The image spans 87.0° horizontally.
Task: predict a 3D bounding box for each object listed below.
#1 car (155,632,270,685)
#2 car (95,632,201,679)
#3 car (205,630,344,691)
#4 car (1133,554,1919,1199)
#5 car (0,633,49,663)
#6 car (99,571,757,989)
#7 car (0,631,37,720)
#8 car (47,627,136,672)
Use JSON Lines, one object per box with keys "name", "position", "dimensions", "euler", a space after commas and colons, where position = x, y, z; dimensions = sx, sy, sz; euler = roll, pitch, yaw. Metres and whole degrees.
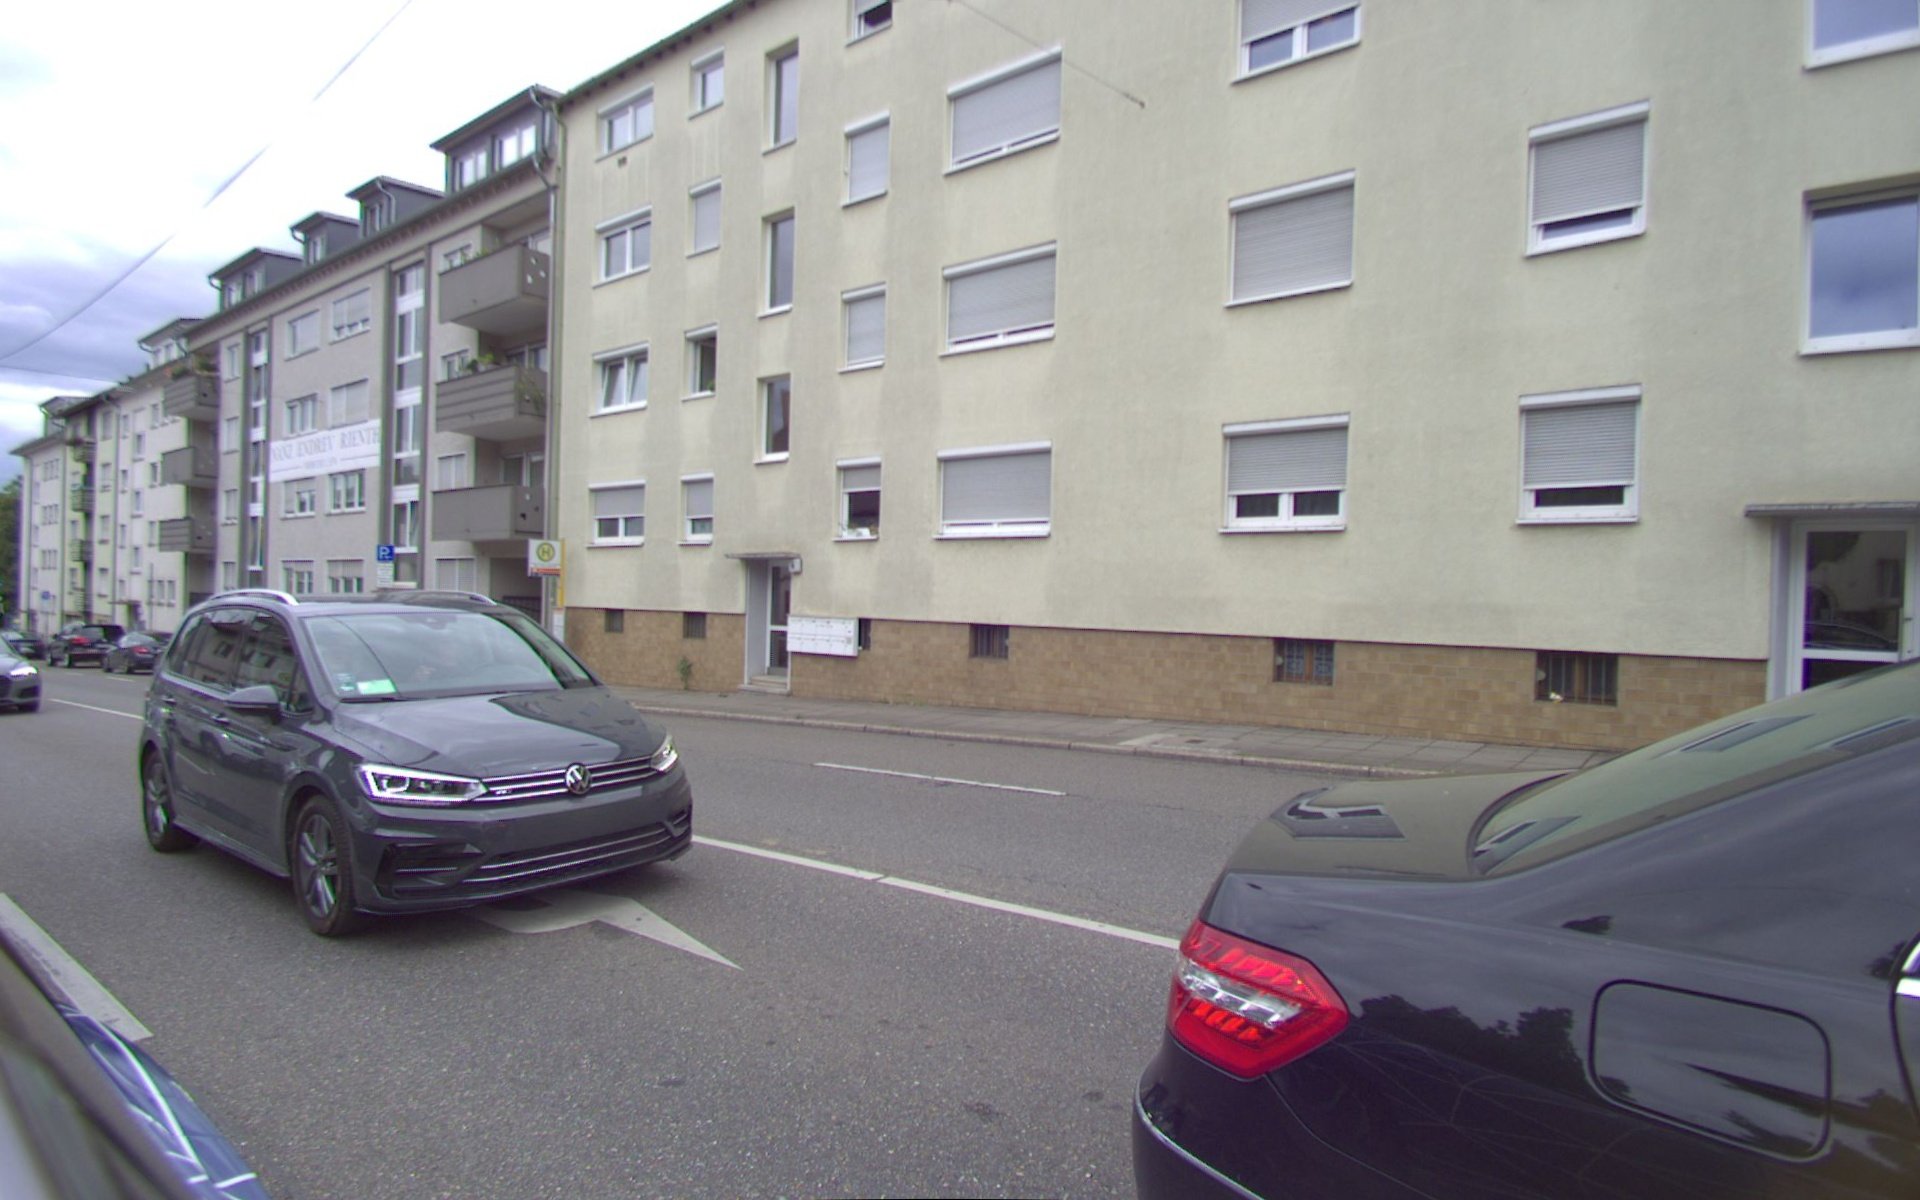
{"name": "car", "position": [-21.446, 1.645, 29.012], "dimensions": [3.533, 1.386, 1.649], "euler": [-1, -3, 36]}
{"name": "car", "position": [-26.234, 1.757, 32.676], "dimensions": [3.533, 1.414, 1.755], "euler": [-1, -3, 36]}
{"name": "car", "position": [-17.583, 1.510, 25.925], "dimensions": [3.680, 1.422, 1.755], "euler": [-1, -3, 36]}
{"name": "car", "position": [2.729, 0.647, 0.675], "dimensions": [4.840, 1.439, 1.973], "euler": [-2, -1, 41]}
{"name": "car", "position": [-46.171, 2.319, 49.416], "dimensions": [3.752, 1.414, 1.755], "euler": [-1, -3, 36]}
{"name": "car", "position": [-3.398, 0.713, 6.054], "dimensions": [4.474, 1.623, 1.840], "euler": [-1, 0, 38]}
{"name": "car", "position": [-16.481, 1.184, 16.505], "dimensions": [4.148, 1.365, 1.856], "euler": [-2, -2, 44]}
{"name": "car", "position": [-33.156, 1.874, 38.622], "dimensions": [3.533, 1.613, 1.755], "euler": [-1, -3, 36]}
